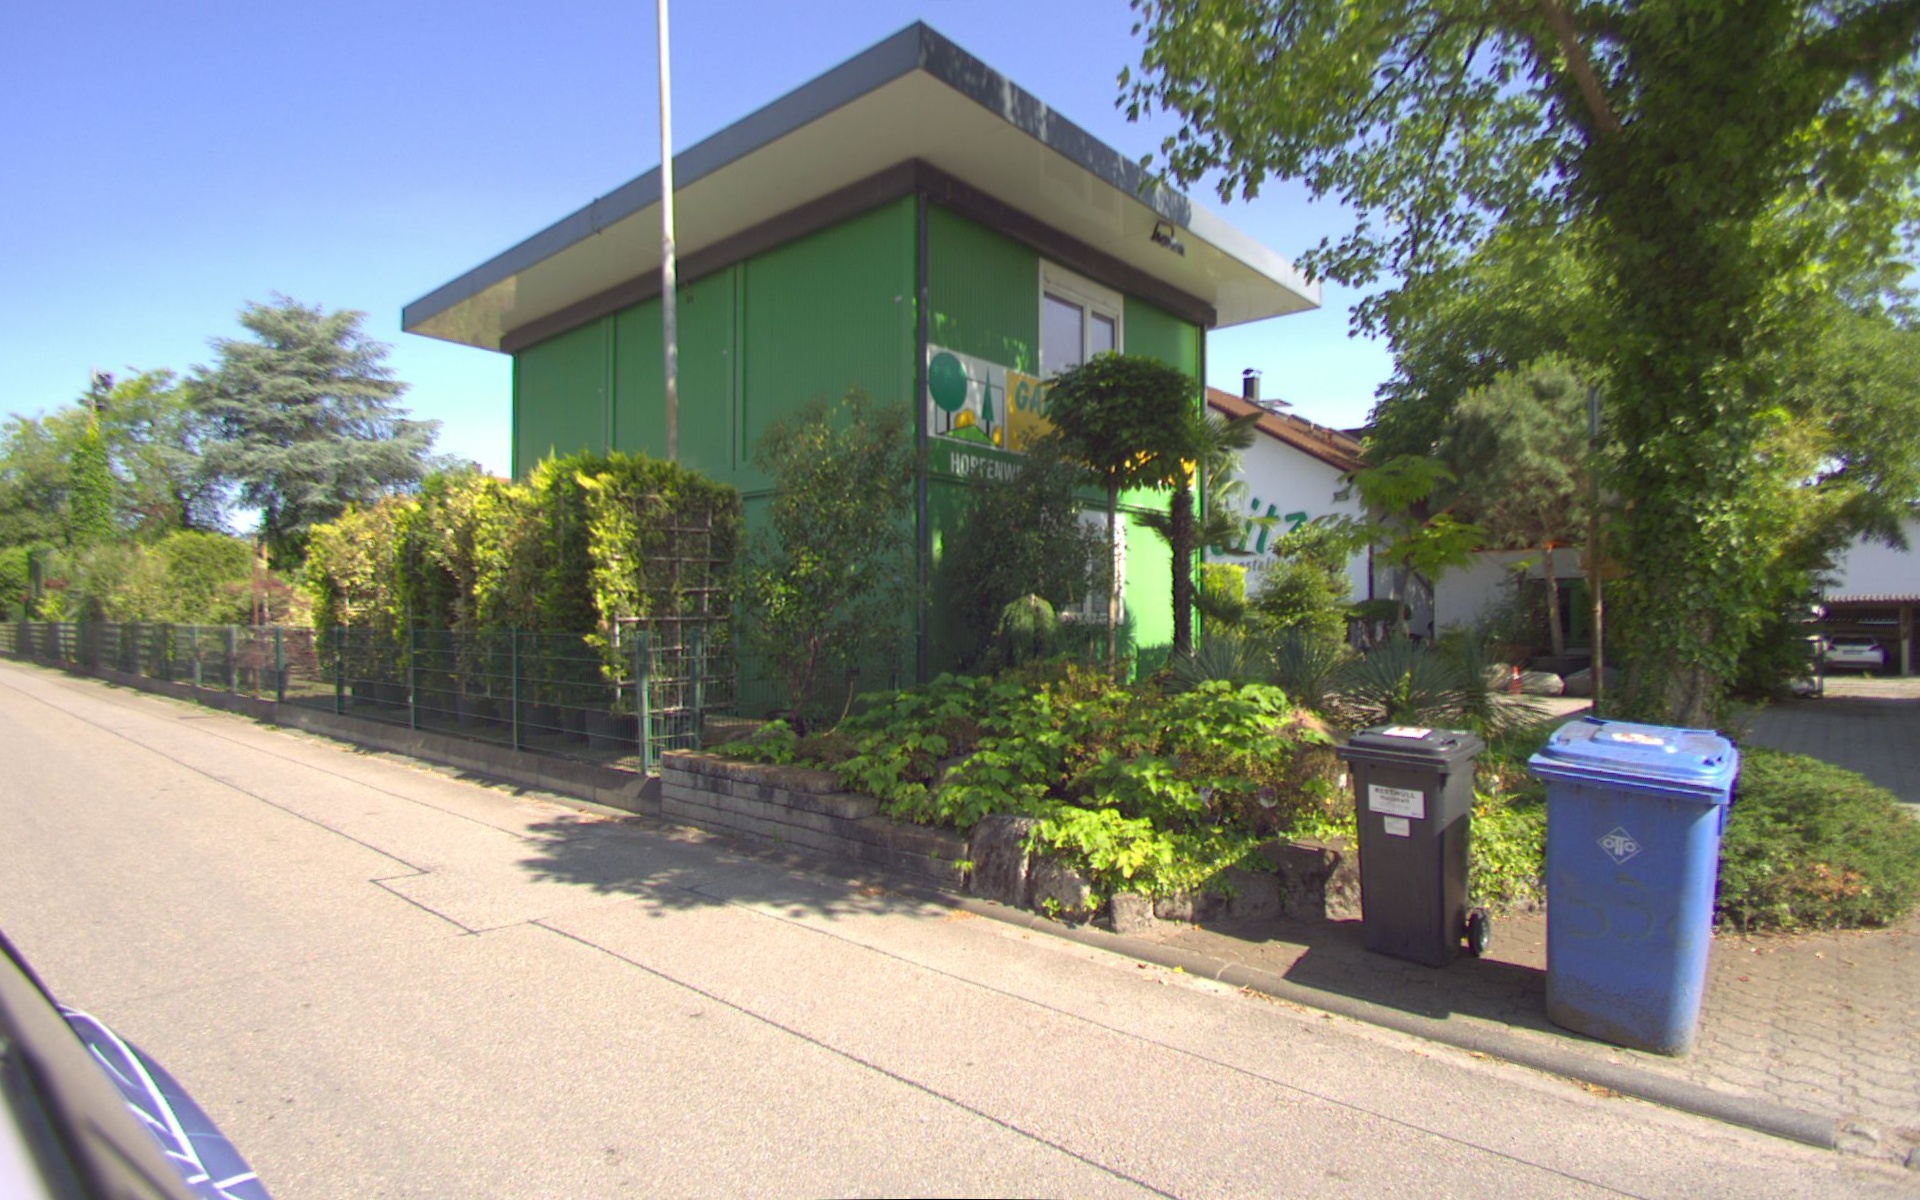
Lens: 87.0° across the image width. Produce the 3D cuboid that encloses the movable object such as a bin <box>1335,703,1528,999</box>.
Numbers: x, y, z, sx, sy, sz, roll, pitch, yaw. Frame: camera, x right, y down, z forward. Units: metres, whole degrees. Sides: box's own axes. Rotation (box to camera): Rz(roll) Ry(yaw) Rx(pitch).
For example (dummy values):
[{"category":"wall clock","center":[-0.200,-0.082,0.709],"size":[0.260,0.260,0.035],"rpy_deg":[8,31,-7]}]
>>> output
[{"category":"movable object such as a bin","center":[1.963,0.982,4.208],"size":[0.568,1.032,0.576],"rpy_deg":[-1,-1,42]}]

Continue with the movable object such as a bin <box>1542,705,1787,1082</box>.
[{"category":"movable object such as a bin","center":[2.502,0.949,3.584],"size":[0.612,1.062,0.723],"rpy_deg":[-1,-1,42]}]

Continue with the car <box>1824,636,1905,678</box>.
[{"category":"car","center":[33.270,2.056,37.201],"size":[3.940,1.453,1.904],"rpy_deg":[2,-3,-44]}]
